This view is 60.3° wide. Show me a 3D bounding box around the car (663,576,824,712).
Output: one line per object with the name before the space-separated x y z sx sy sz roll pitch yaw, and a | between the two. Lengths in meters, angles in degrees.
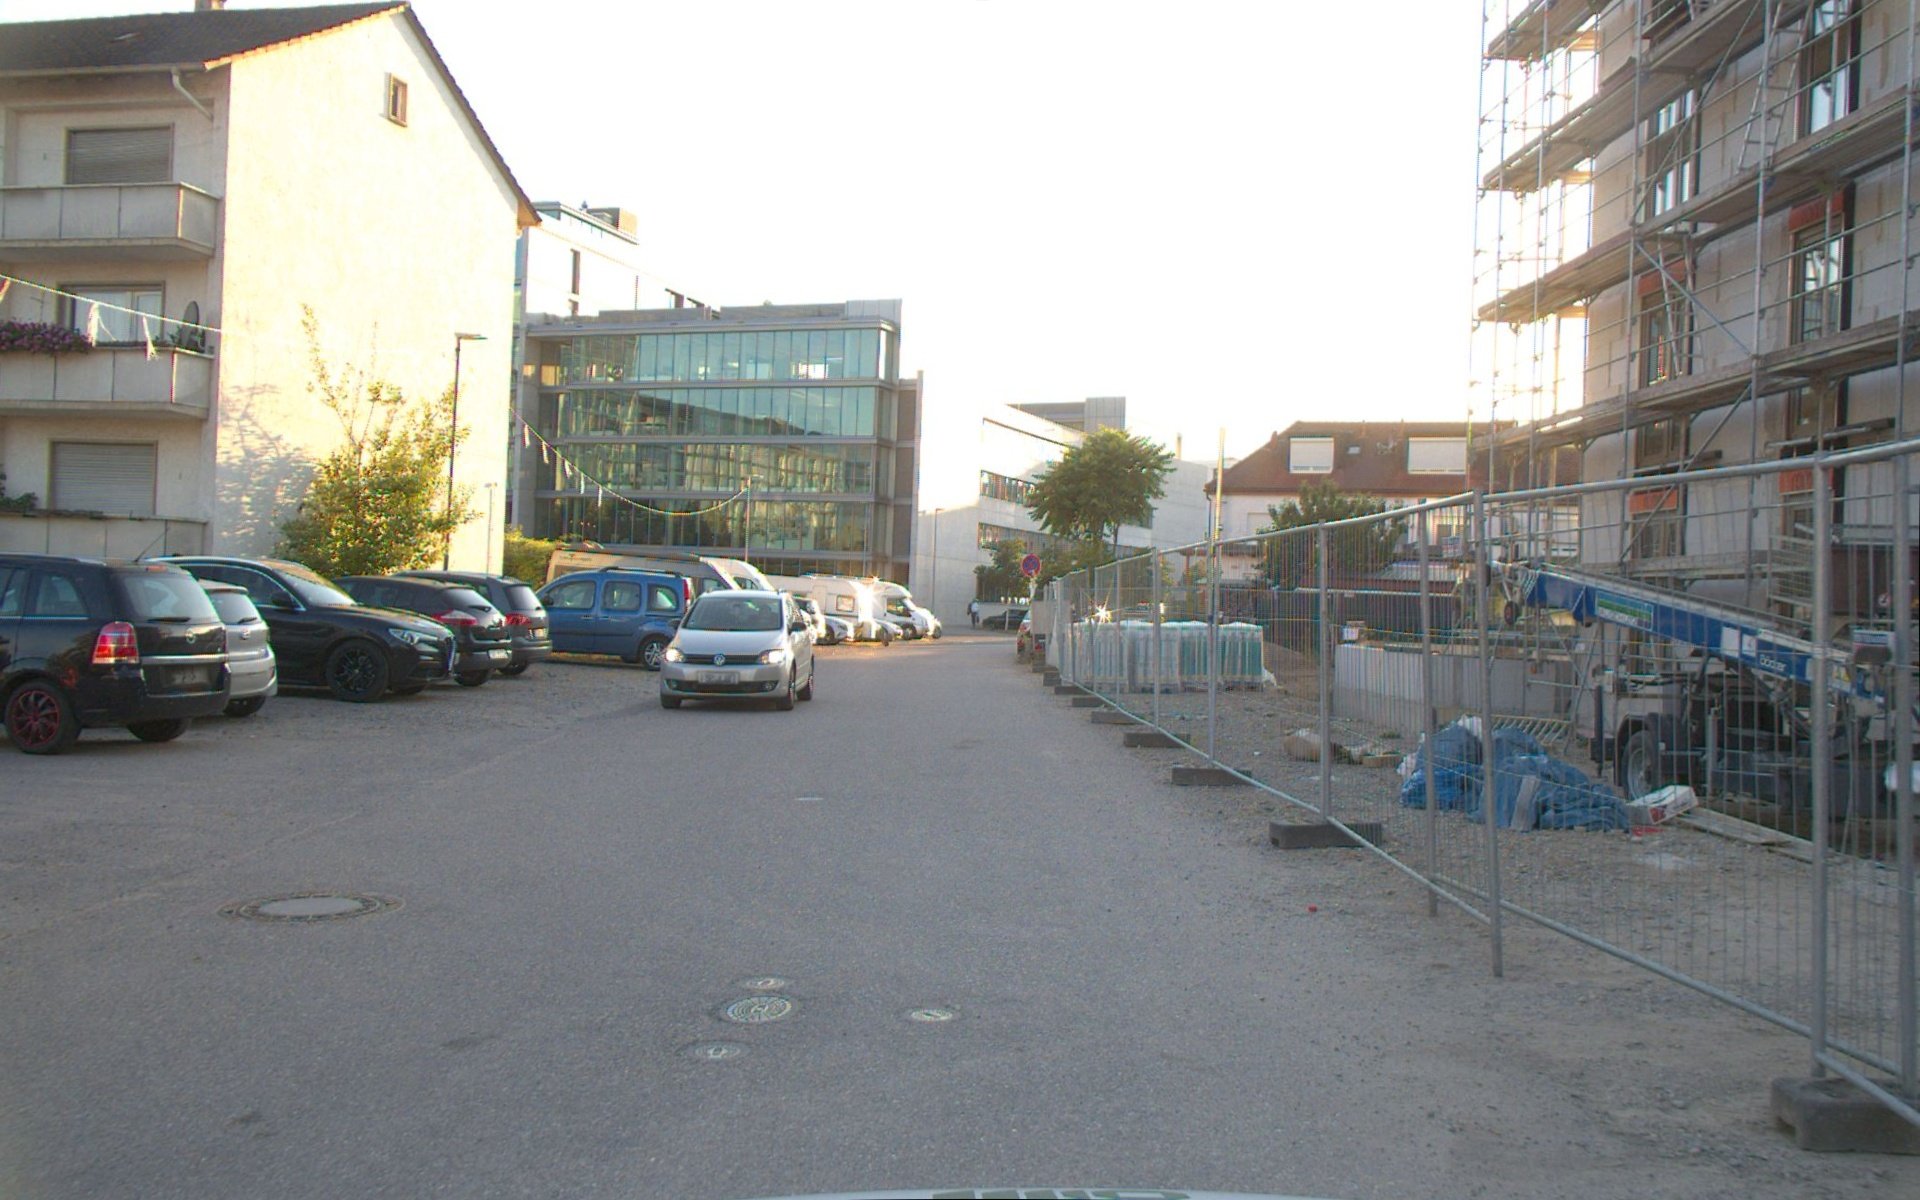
car | -2.916 0.572 23.055 1.636 1.648 4.285 2 0 0

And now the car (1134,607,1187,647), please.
car | 11.253 1.512 92.701 2.022 2.131 4.874 1 0 18

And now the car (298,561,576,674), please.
car | -8.305 0.256 26.403 3.842 1.608 1.644 2 0 9

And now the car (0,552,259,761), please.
car | -8.539 0.412 14.526 3.950 1.648 1.851 2 -1 9

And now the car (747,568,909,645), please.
car | -5.142 0.272 64.910 5.763 2.578 2.413 4 -2 11

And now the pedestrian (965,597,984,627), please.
pedestrian | 0.912 0.782 105.375 0.892 1.883 0.845 1 0 -37

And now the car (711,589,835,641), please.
car | -6.480 0.515 57.445 3.842 1.618 1.749 2 0 13

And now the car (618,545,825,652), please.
car | -7.120 -0.039 49.752 5.705 2.760 2.051 4 0 3

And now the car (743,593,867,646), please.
car | -5.598 0.697 60.020 4.039 1.618 1.749 4 0 13

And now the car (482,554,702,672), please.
car | -6.972 0.238 31.665 3.852 1.944 1.745 4 0 -8

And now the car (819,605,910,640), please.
car | -4.215 0.985 73.468 3.727 1.352 1.694 3 0 8

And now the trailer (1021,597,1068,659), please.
trailer | 2.347 0.776 46.491 1.224 1.694 2.803 0 -1 1

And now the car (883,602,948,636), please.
car | -2.164 0.958 82.226 1.652 1.545 4.361 3 -1 21

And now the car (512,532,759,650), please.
car | -8.868 -0.214 45.653 6.260 2.760 2.112 4 -2 -2

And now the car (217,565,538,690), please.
car | -8.084 0.380 23.095 3.842 1.543 1.644 2 -1 9

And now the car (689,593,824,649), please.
car | -6.373 0.661 52.080 3.843 1.533 1.791 2 -1 6

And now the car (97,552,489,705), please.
car | -8.079 0.325 20.275 4.004 1.656 1.821 2 0 2

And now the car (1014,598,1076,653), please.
car | 2.904 0.848 55.810 1.767 1.755 4.931 0 -1 7

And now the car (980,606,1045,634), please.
car | 3.241 1.222 102.078 3.656 1.507 1.771 3 1 16

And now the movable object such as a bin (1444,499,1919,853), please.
movable object such as a bin | 6.597 0.525 15.079 2.022 2.313 8.368 1 0 1

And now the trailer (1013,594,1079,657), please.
trailer | 2.661 0.757 50.254 1.694 1.809 4.940 0 -1 6

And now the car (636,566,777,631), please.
car | -11.986 -0.064 78.211 6.111 2.719 2.224 3 0 15

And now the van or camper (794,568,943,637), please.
van or camper | -4.344 0.121 78.798 6.597 2.948 2.410 3 0 11

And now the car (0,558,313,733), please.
car | -9.148 0.420 17.498 3.842 1.547 1.810 3 1 9

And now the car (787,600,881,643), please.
car | -5.188 0.889 68.491 3.552 1.545 1.707 3 0 6
